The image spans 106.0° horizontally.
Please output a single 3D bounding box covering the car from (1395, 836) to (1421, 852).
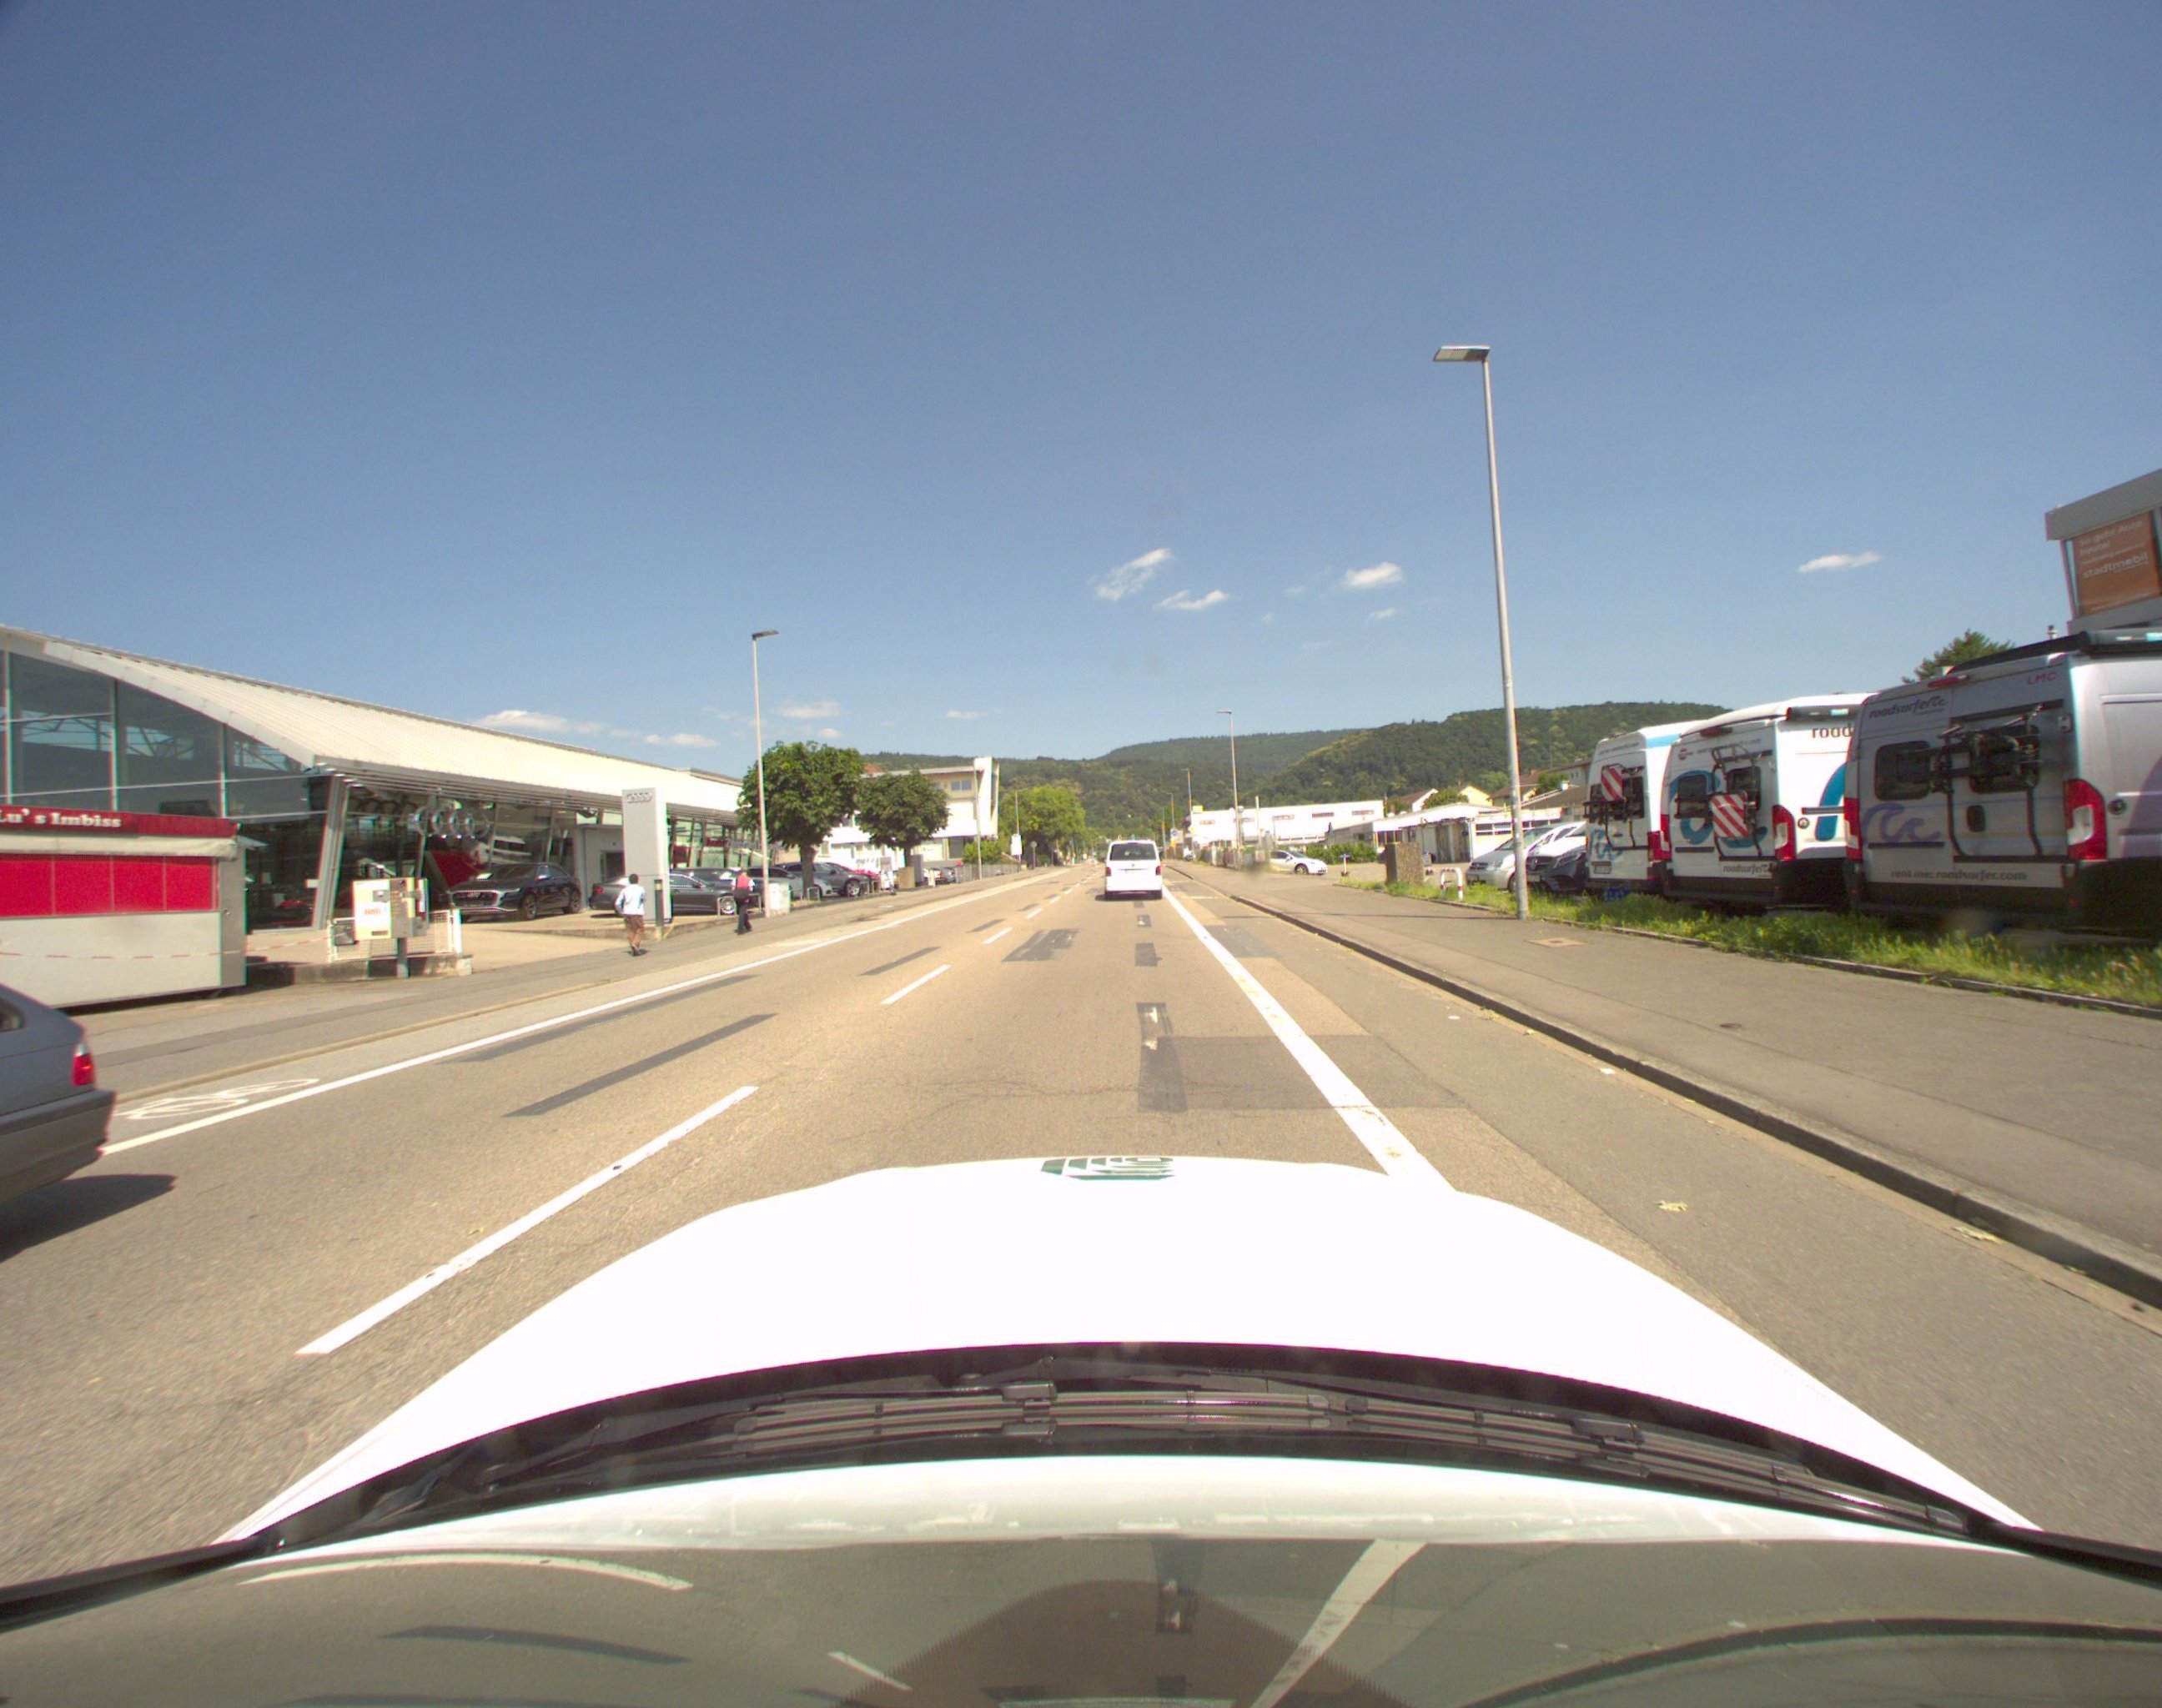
[{"bbox_3d":[38.099,-1.148,94.863,1.974,1.647,4.026,-2,1,33],"label":"car"}]

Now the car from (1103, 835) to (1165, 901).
[{"bbox_3d":[1.763,0.462,28.146,1.927,2.059,4.546,-1,0,2],"label":"car"}]

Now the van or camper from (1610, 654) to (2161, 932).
[{"bbox_3d":[10.645,-0.711,10.031,6.322,2.700,2.715,-4,0,3],"label":"van or camper"}]

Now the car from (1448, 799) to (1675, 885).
[{"bbox_3d":[10.567,-0.250,18.129,3.906,1.593,1.799,-4,0,3],"label":"car"}]

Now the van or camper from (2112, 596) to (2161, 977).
[{"bbox_3d":[10.190,-0.635,4.158,6.170,2.524,2.621,-4,0,3],"label":"van or camper"}]

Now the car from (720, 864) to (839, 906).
[{"bbox_3d":[-12.235,1.219,33.083,4.218,1.495,1.855,-1,-1,-32],"label":"car"}]

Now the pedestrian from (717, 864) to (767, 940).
[{"bbox_3d":[-8.860,1.230,21.309,0.730,1.867,1.047,-4,0,2],"label":"pedestrian"}]

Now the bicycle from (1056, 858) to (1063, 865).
[{"bbox_3d":[-3.365,1.141,126.656,1.023,1.118,2.766,-1,0,1],"label":"bicycle"}]

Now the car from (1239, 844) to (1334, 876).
[{"bbox_3d":[11.815,0.403,47.080,2.035,1.622,4.985,4,-5,-44],"label":"car"}]

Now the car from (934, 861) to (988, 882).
[{"bbox_3d":[-10.408,1.494,71.032,4.283,1.558,1.995,-4,0,-1],"label":"car"}]

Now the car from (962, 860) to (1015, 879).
[{"bbox_3d":[-8.949,1.469,79.017,4.721,1.481,2.049,-4,0,2],"label":"car"}]

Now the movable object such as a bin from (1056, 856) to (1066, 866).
[{"bbox_3d":[-3.368,1.190,136.166,1.446,1.590,1.305,-4,0,-5],"label":"movable object such as a bin"}]

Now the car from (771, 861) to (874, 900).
[{"bbox_3d":[-12.652,1.259,39.926,4.497,1.708,1.891,-1,-1,-32],"label":"car"}]

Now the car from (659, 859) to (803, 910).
[{"bbox_3d":[-12.500,1.039,29.163,4.498,1.608,1.946,1,2,-32],"label":"car"}]

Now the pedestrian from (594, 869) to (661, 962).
[{"bbox_3d":[-9.486,1.262,17.066,0.719,1.848,0.913,-4,0,7],"label":"pedestrian"}]

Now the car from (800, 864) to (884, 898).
[{"bbox_3d":[-12.795,1.402,43.648,4.010,1.550,1.842,-3,0,-28],"label":"car"}]

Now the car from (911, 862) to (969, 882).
[{"bbox_3d":[-10.530,1.387,61.053,3.973,1.443,1.859,0,-3,1],"label":"car"}]

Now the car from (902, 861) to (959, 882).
[{"bbox_3d":[-10.797,1.298,58.666,3.884,1.444,1.820,1,-3,-5],"label":"car"}]

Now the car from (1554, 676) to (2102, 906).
[{"bbox_3d":[11.338,-0.886,12.843,6.202,2.869,2.322,-4,0,3],"label":"car"}]

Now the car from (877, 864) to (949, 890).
[{"bbox_3d":[-11.582,1.555,56.300,4.507,1.457,1.901,-4,0,1],"label":"car"}]

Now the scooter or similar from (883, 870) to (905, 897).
[{"bbox_3d":[-9.009,1.410,39.244,0.742,1.247,1.488,-3,0,-4],"label":"scooter or similar"}]

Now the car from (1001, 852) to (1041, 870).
[{"bbox_3d":[-7.241,0.865,98.726,4.554,1.865,2.091,-3,0,-2],"label":"car"}]

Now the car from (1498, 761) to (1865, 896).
[{"bbox_3d":[10.993,-0.434,15.247,5.213,1.952,2.002,-5,0,2],"label":"car"}]

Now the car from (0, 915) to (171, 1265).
[{"bbox_3d":[-5.435,1.069,1.828,1.735,1.404,4.326,-5,0,2],"label":"car"}]

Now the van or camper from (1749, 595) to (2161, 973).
[{"bbox_3d":[10.297,-0.686,7.193,6.322,2.716,2.715,-4,0,3],"label":"van or camper"}]

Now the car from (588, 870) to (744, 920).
[{"bbox_3d":[-12.963,1.274,25.479,4.175,1.460,1.888,2,-3,-32],"label":"car"}]

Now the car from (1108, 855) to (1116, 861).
[{"bbox_3d":[8.391,1.166,222.865,1.984,1.370,4.332,-4,-1,4],"label":"car"}]

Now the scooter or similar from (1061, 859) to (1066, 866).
[{"bbox_3d":[-2.822,1.359,130.432,0.645,1.127,1.621,-1,0,-3],"label":"scooter or similar"}]

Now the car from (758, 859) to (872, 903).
[{"bbox_3d":[-12.040,1.200,36.952,4.597,1.696,1.840,-3,0,-32],"label":"car"}]

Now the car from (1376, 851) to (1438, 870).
[{"bbox_3d":[26.802,0.532,67.150,4.306,1.398,2.123,-3,0,7],"label":"car"}]

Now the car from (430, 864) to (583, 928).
[{"bbox_3d":[-17.024,1.163,24.456,1.995,1.719,4.713,0,-1,-12],"label":"car"}]
